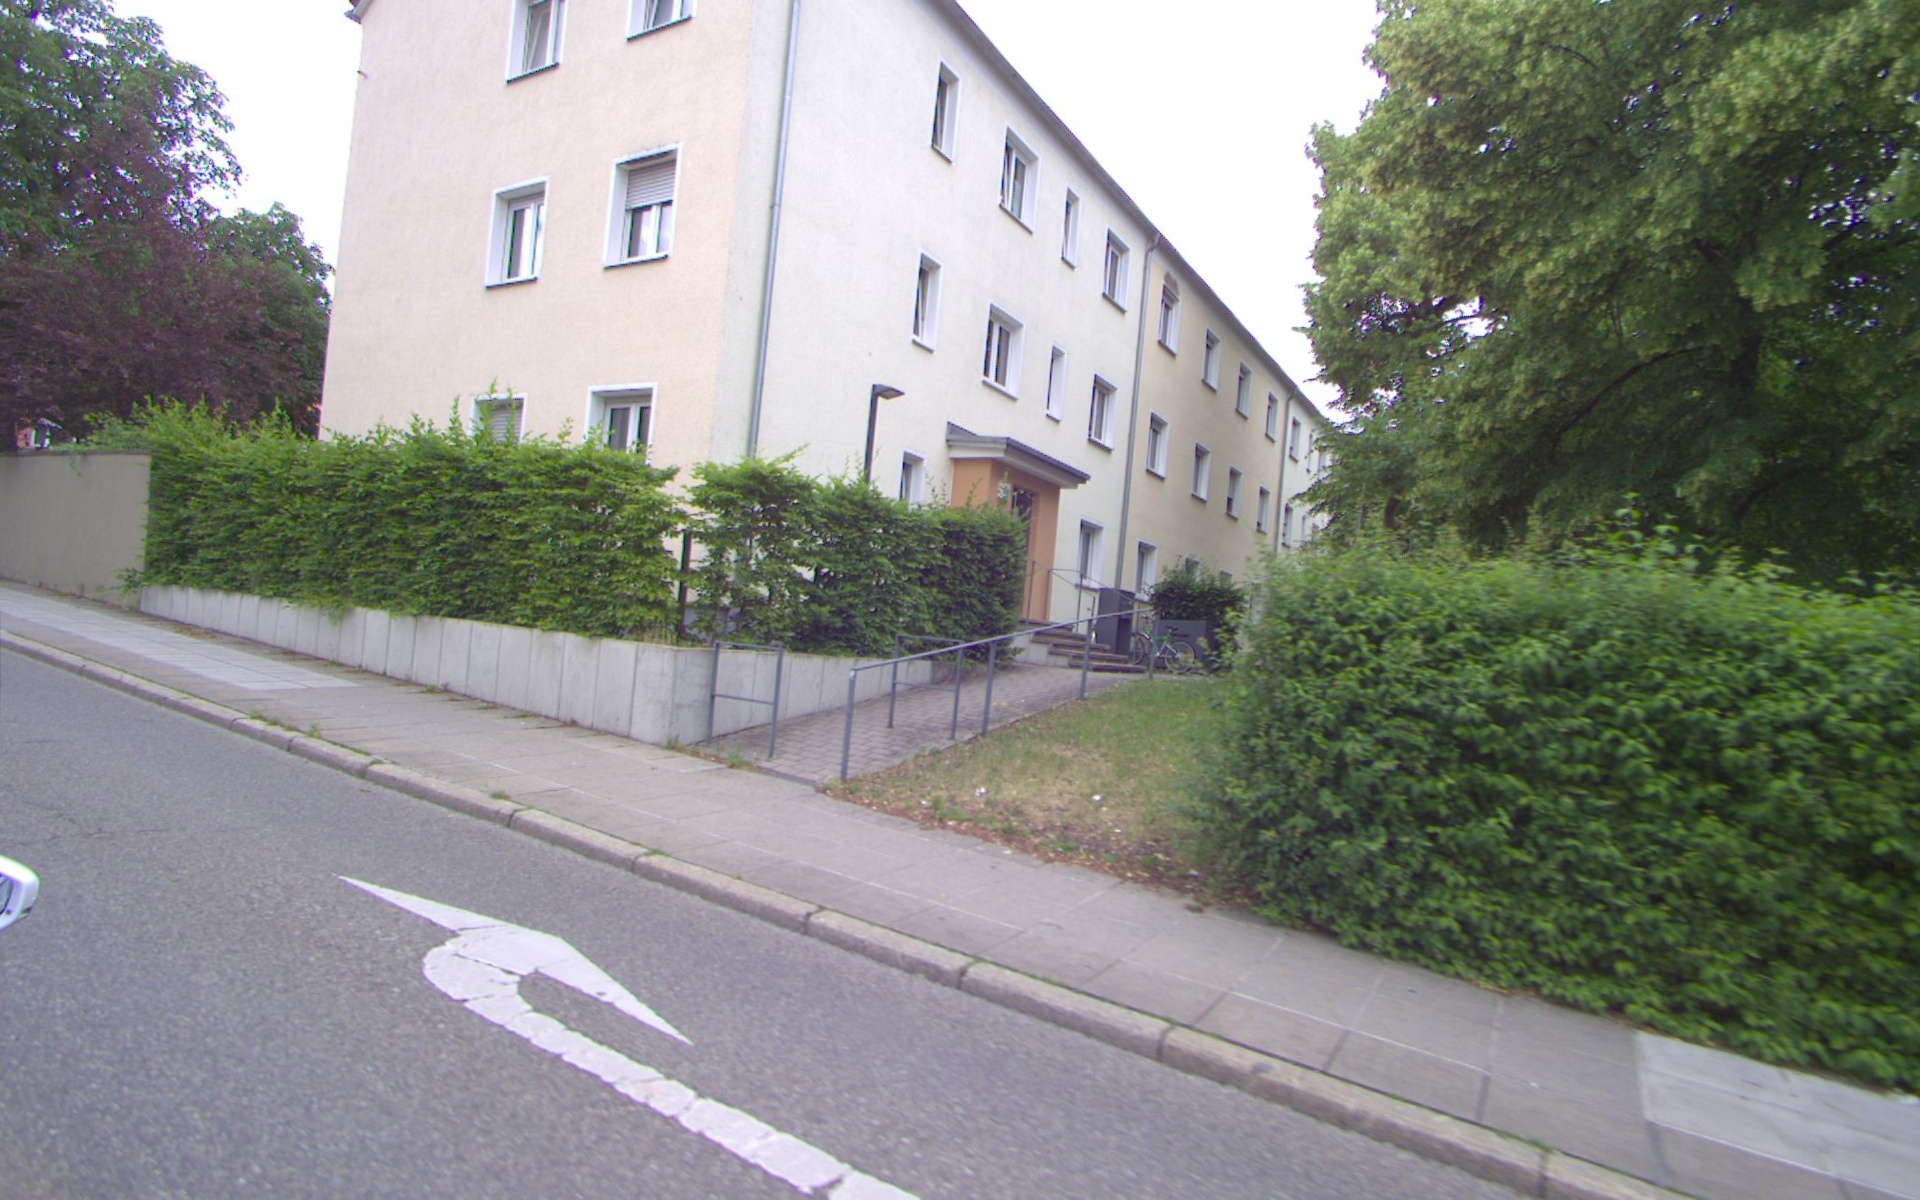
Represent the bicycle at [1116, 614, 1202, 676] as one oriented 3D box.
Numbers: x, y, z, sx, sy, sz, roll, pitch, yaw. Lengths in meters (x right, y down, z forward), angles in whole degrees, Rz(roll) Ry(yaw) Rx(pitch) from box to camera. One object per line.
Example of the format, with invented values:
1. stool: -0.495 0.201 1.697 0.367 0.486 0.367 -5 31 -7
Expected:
1. bicycle: 3.834 0.865 19.424 1.508 1.008 0.350 6 -1 32
